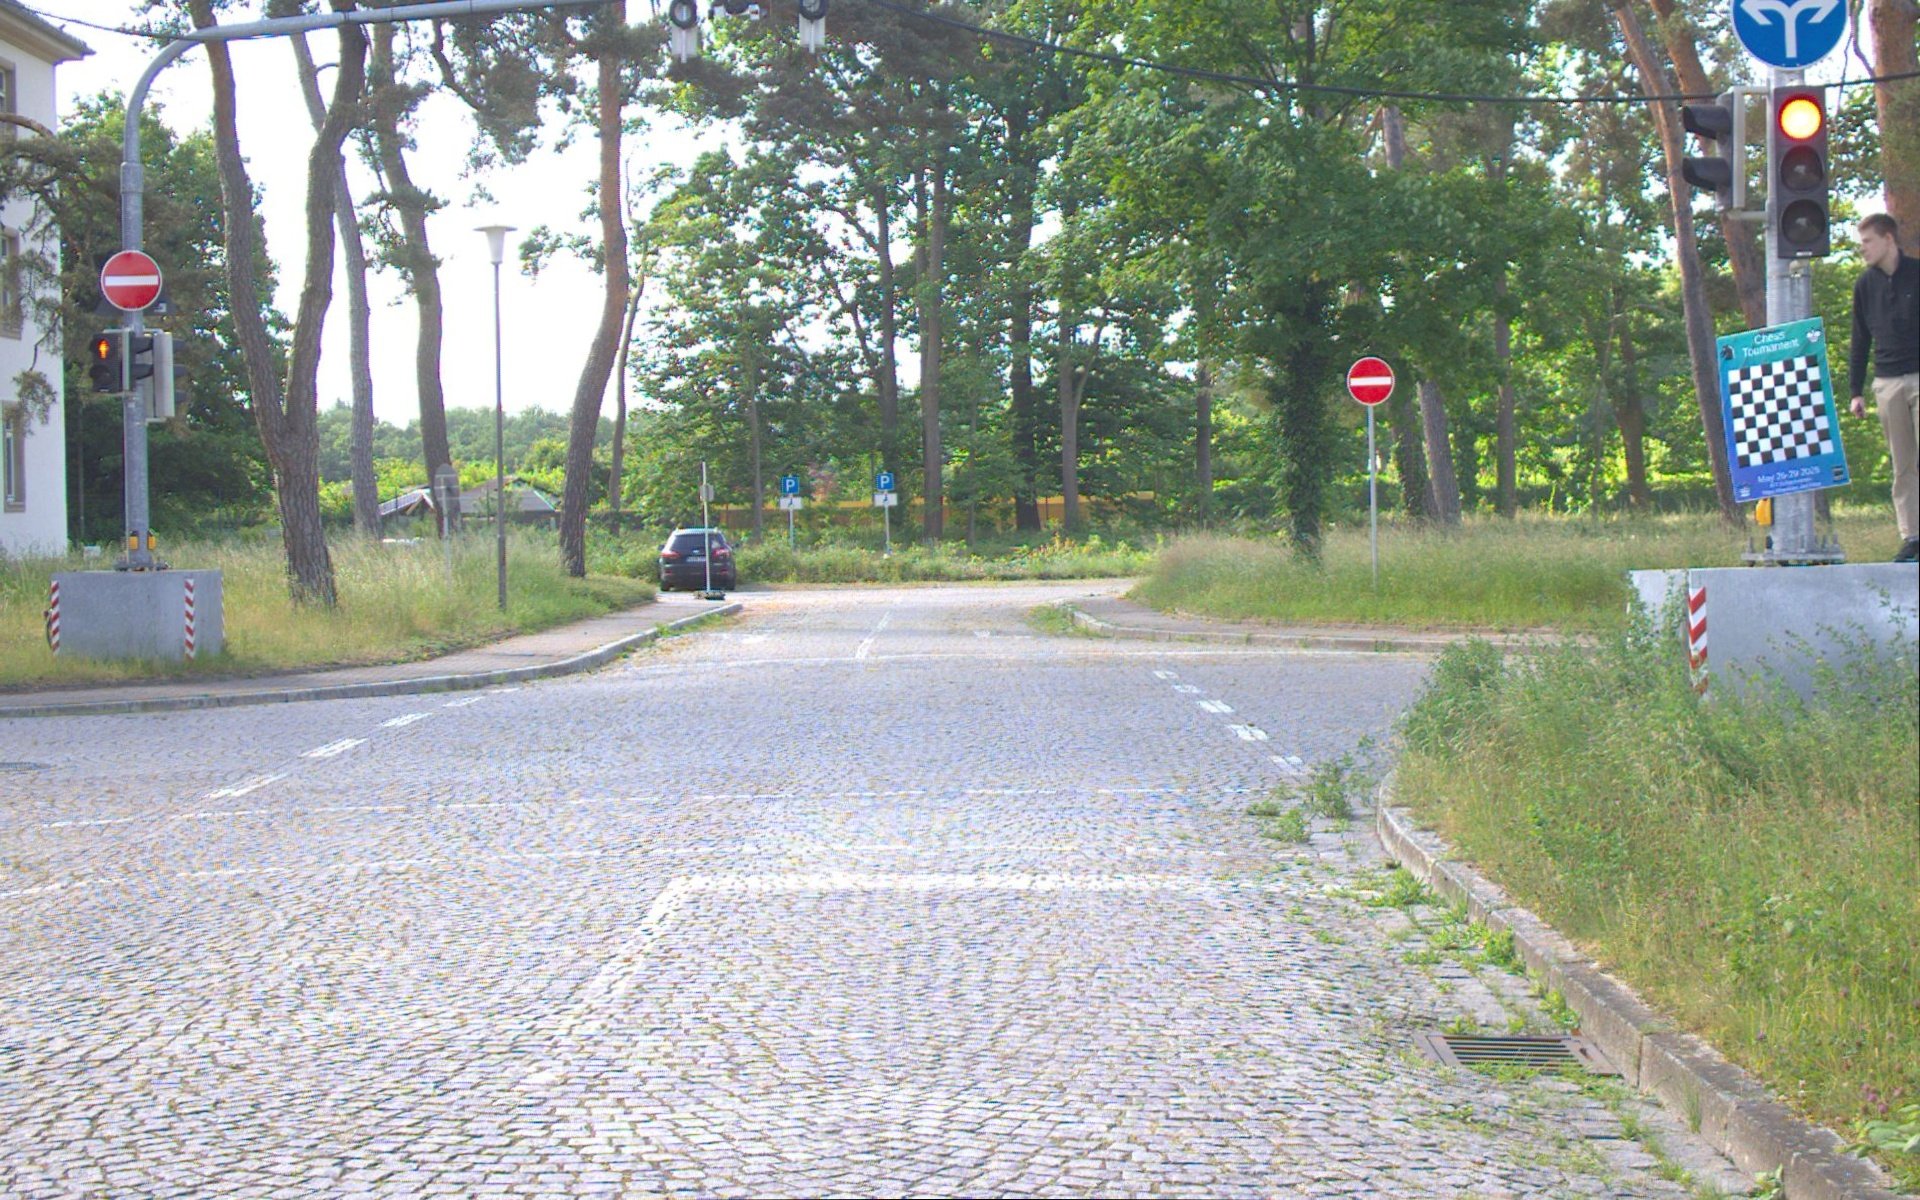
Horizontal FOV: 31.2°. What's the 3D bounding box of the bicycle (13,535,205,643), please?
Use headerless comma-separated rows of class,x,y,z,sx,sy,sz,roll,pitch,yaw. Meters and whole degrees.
bicycle,-8.878,-0.131,35.922,0.634,1.062,1.946,0,2,39

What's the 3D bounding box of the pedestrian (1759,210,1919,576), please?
pedestrian,4.826,-1.047,17.547,1.170,1.790,1.061,-1,2,29

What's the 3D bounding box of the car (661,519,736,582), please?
car,-6.471,-1.250,85.301,1.709,1.491,3.919,-1,2,-2
